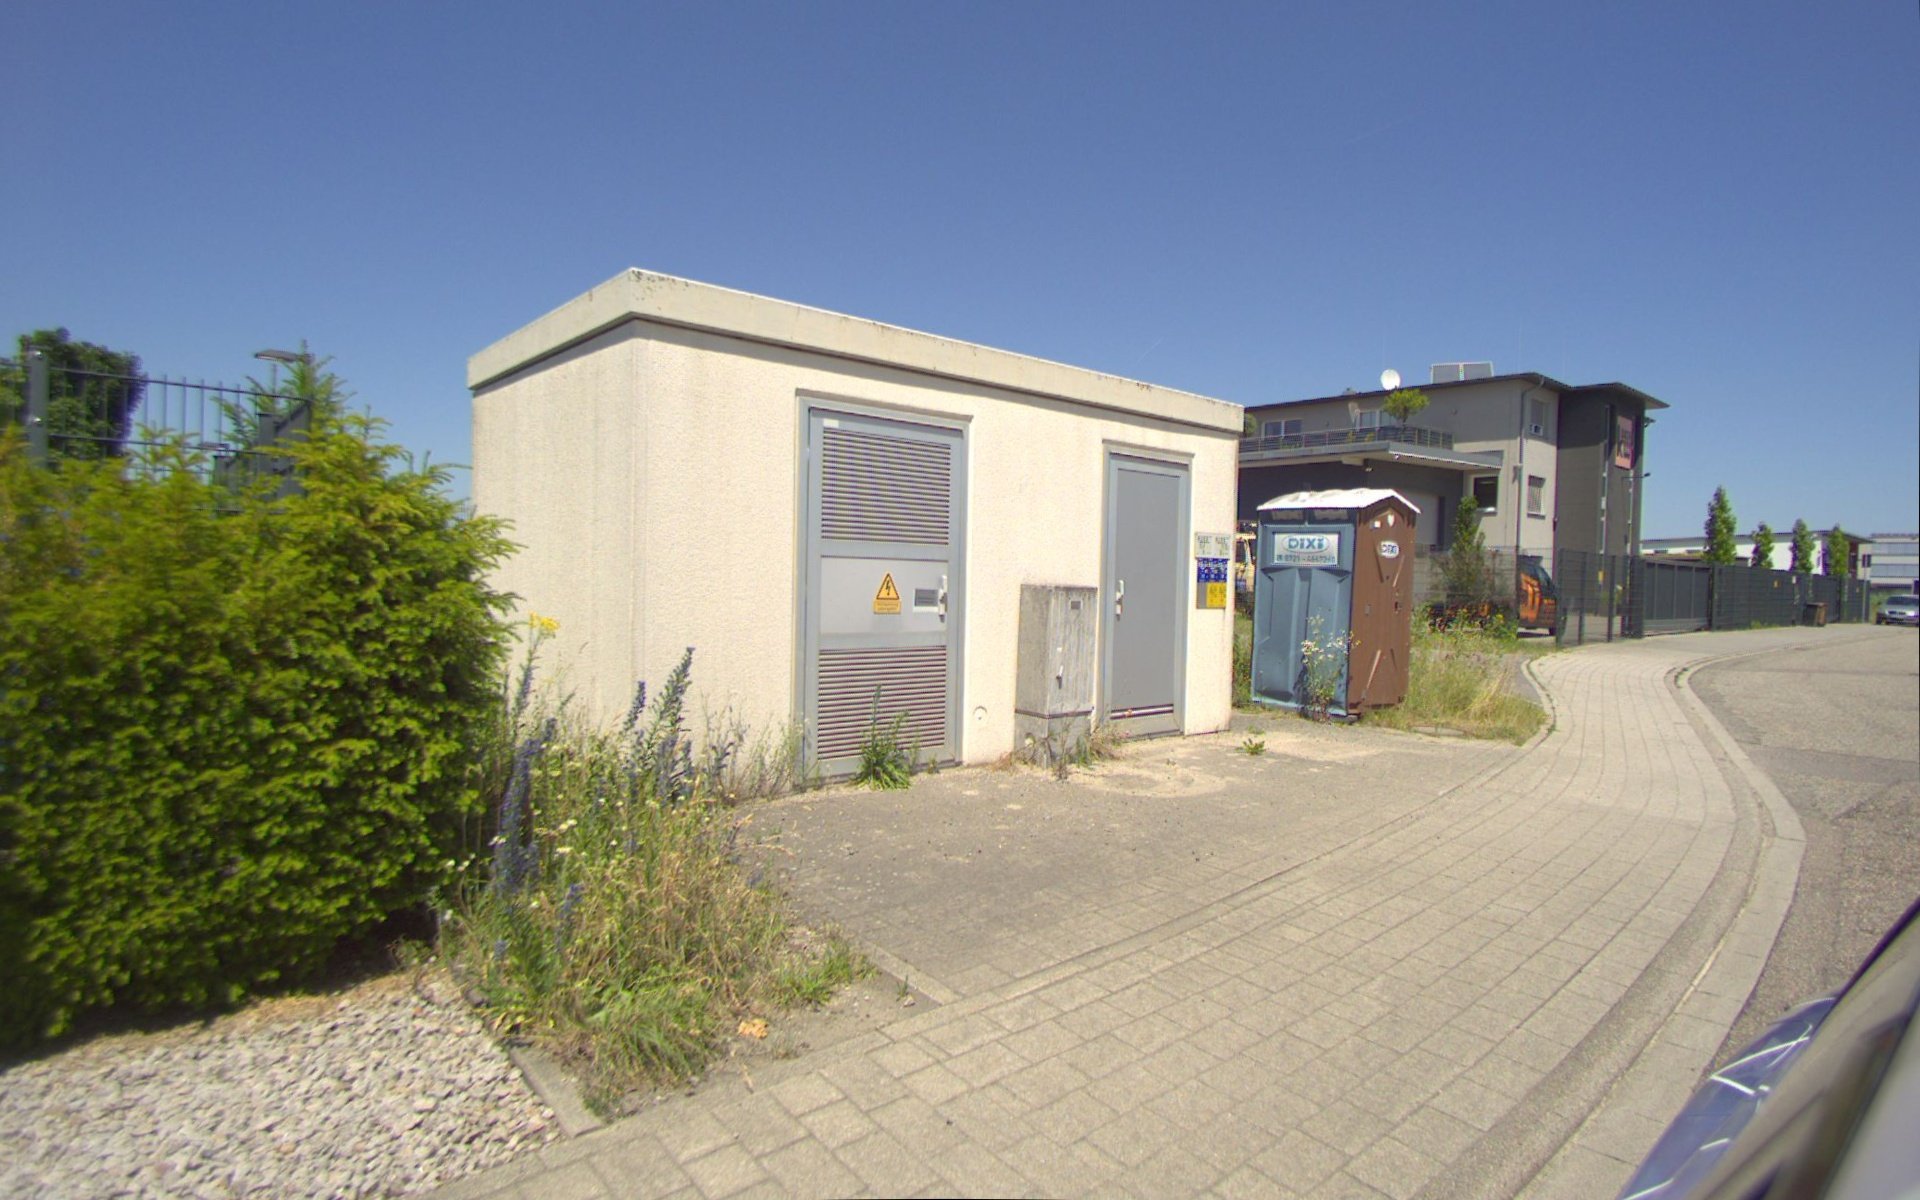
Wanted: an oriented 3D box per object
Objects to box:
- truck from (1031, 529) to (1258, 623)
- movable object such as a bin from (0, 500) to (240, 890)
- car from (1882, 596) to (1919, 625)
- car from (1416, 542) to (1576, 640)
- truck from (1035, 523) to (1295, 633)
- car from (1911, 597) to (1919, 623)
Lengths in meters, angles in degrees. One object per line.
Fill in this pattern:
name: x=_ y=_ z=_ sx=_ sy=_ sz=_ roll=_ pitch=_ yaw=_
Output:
truck: x=6.787 y=-0.934 z=38.789 sx=2.642 sy=3.216 sz=8.964 roll=0 pitch=1 yaw=-40
movable object such as a bin: x=-4.096 y=0.349 z=4.643 sx=1.150 sy=1.542 sz=1.386 roll=1 pitch=2 yaw=-41
car: x=45.474 y=0.509 z=48.159 sx=3.817 sy=1.292 sz=1.828 roll=0 pitch=2 yaw=-40
car: x=13.278 y=-0.231 z=24.932 sx=4.696 sy=2.188 sz=1.918 roll=0 pitch=1 yaw=-41
truck: x=6.212 y=-0.726 z=32.194 sx=2.578 sy=3.060 sz=8.352 roll=0 pitch=1 yaw=-40
car: x=49.382 y=0.524 z=50.889 sx=3.817 sy=1.292 sz=1.828 roll=0 pitch=2 yaw=-40
